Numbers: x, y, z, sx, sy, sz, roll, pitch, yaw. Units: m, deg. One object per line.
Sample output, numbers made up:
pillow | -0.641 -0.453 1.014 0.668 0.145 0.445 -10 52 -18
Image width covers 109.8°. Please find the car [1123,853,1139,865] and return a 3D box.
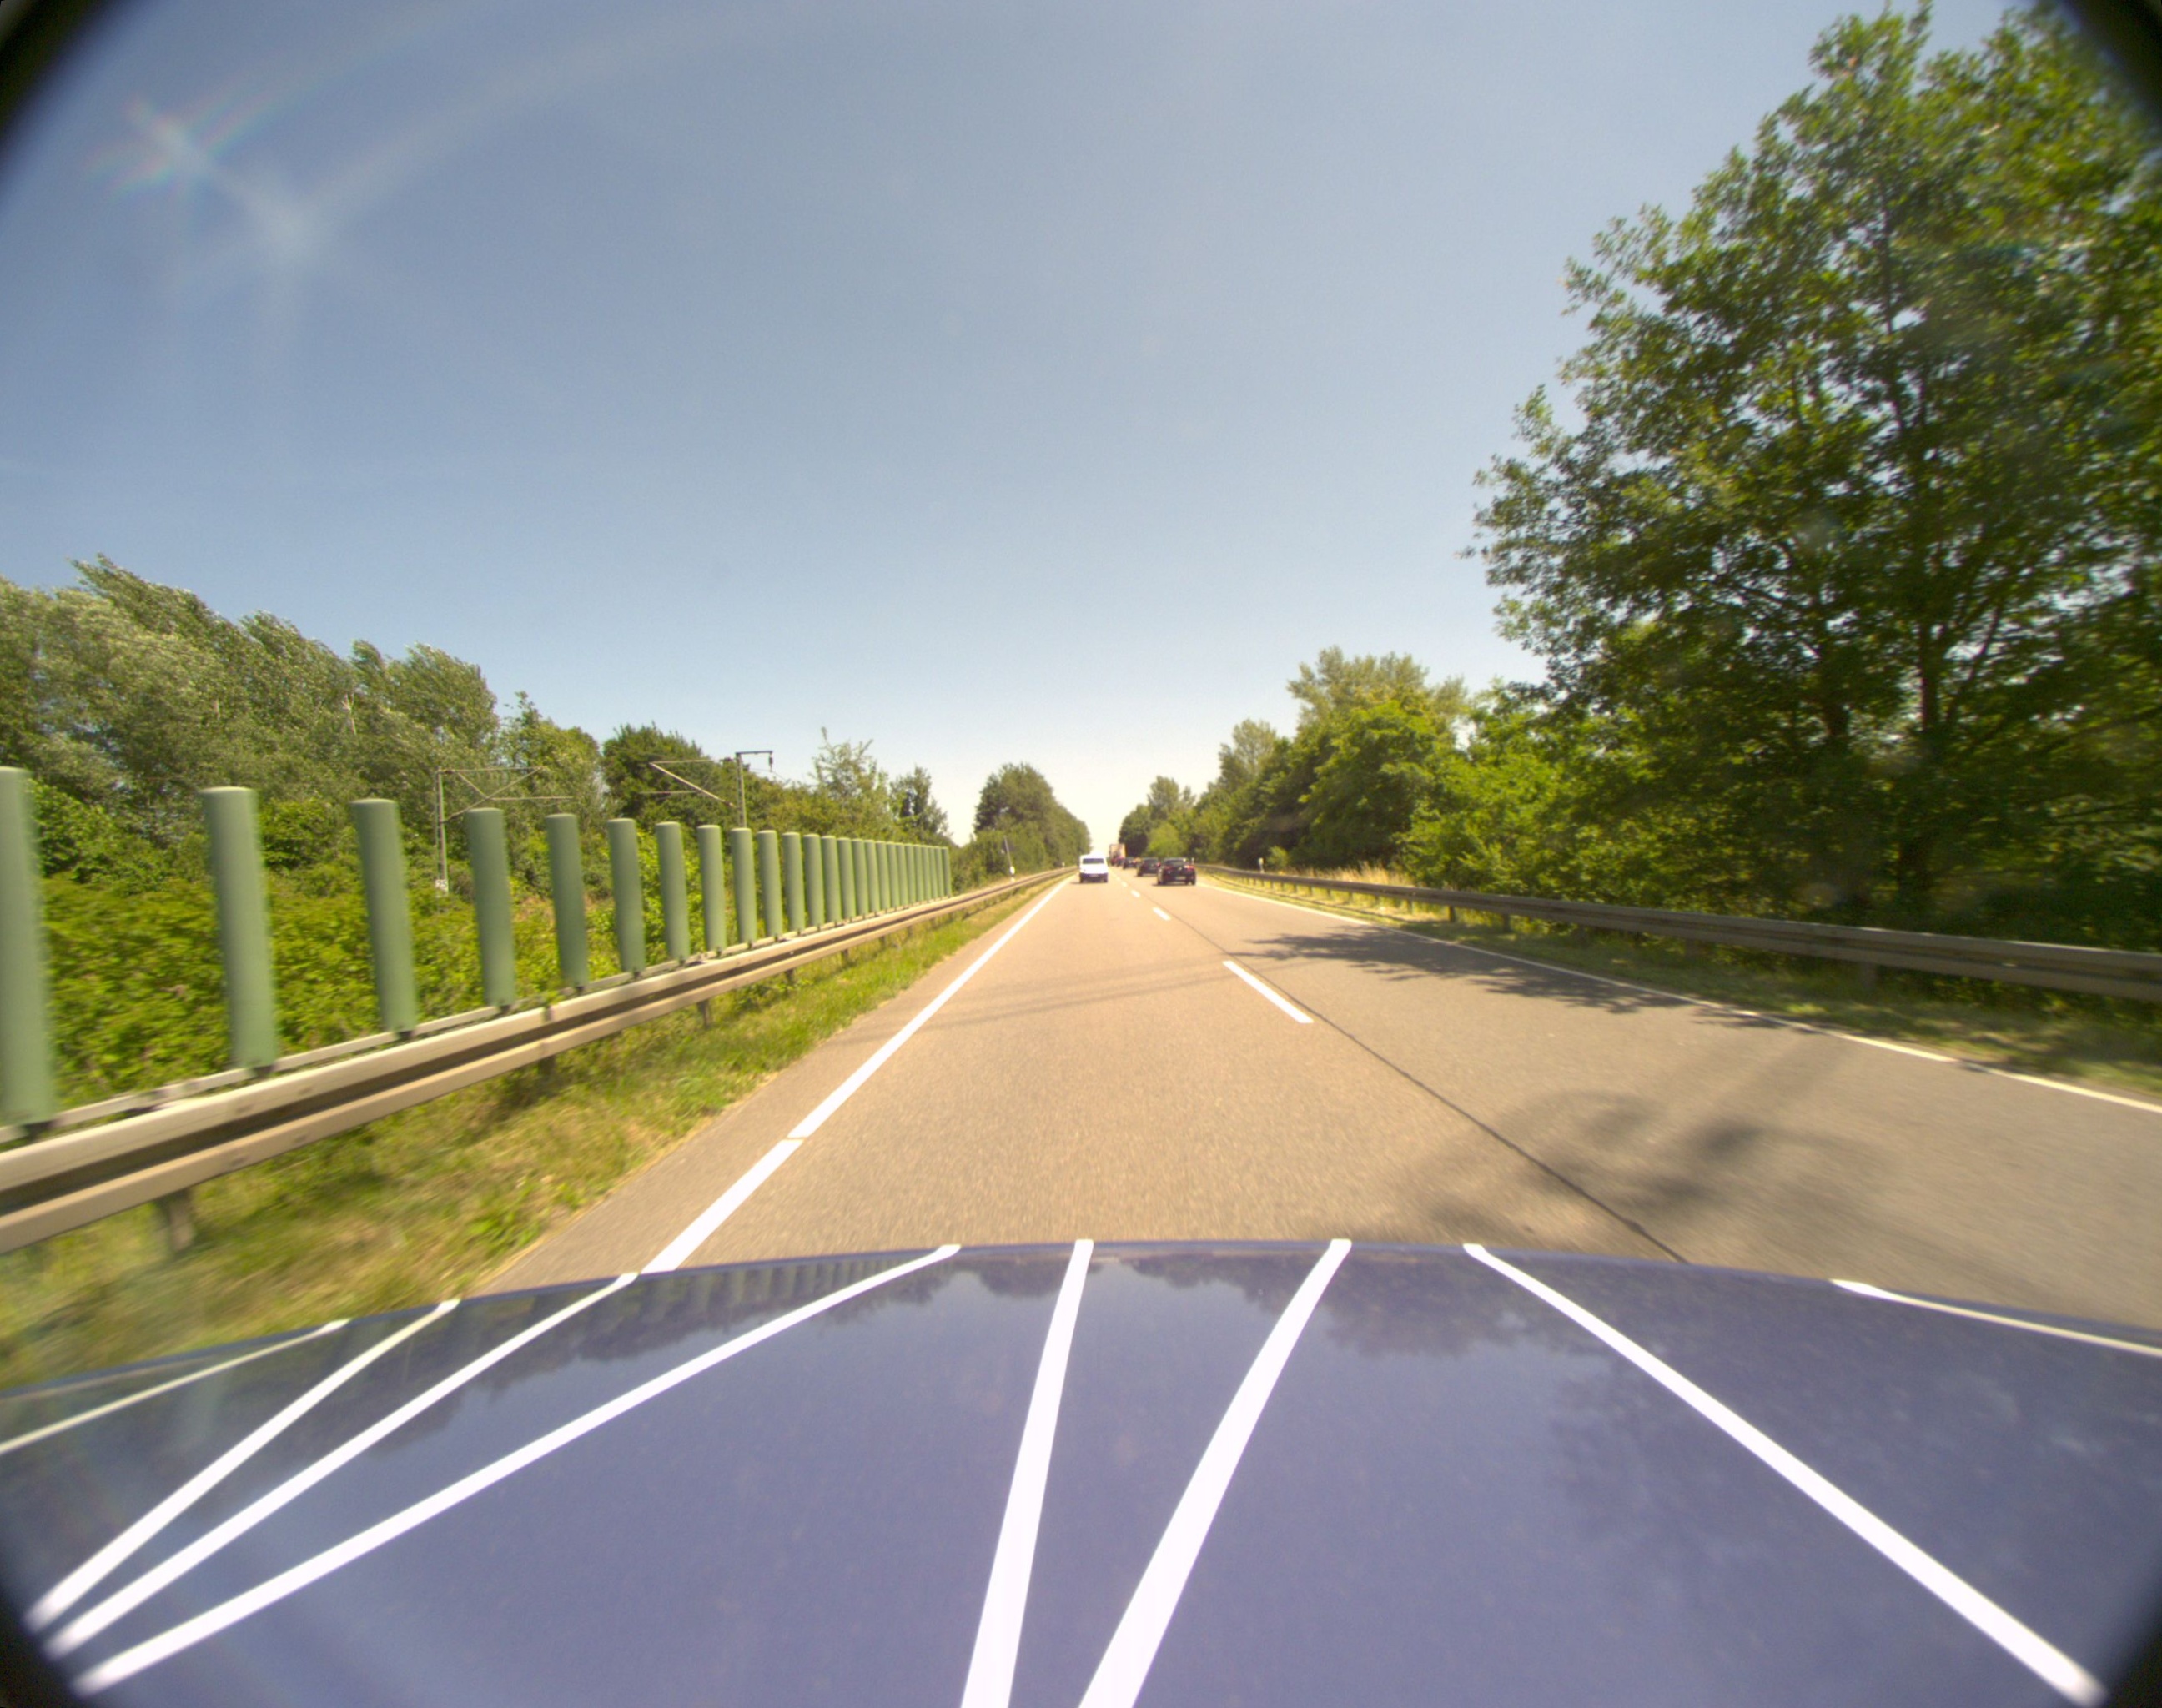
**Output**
car | 6.249 0.603 95.282 1.638 1.428 4.414 -2 0 0

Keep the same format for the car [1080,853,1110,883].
car | 0.918 0.848 47.098 1.782 1.743 4.513 -1 -1 2

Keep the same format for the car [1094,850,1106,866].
car | 2.836 0.594 113.375 1.782 2.286 4.107 -2 -1 2

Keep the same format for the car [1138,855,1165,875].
car | 5.537 0.822 60.340 1.849 1.488 4.000 -2 0 1

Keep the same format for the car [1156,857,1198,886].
car | 5.125 0.916 40.971 1.805 1.446 4.000 -2 0 1

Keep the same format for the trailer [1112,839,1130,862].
trailer | 7.496 -0.593 144.134 2.769 3.976 13.687 -5 0 2

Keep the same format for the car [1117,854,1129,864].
car | 6.546 0.730 118.902 1.638 1.428 4.180 -2 0 1
